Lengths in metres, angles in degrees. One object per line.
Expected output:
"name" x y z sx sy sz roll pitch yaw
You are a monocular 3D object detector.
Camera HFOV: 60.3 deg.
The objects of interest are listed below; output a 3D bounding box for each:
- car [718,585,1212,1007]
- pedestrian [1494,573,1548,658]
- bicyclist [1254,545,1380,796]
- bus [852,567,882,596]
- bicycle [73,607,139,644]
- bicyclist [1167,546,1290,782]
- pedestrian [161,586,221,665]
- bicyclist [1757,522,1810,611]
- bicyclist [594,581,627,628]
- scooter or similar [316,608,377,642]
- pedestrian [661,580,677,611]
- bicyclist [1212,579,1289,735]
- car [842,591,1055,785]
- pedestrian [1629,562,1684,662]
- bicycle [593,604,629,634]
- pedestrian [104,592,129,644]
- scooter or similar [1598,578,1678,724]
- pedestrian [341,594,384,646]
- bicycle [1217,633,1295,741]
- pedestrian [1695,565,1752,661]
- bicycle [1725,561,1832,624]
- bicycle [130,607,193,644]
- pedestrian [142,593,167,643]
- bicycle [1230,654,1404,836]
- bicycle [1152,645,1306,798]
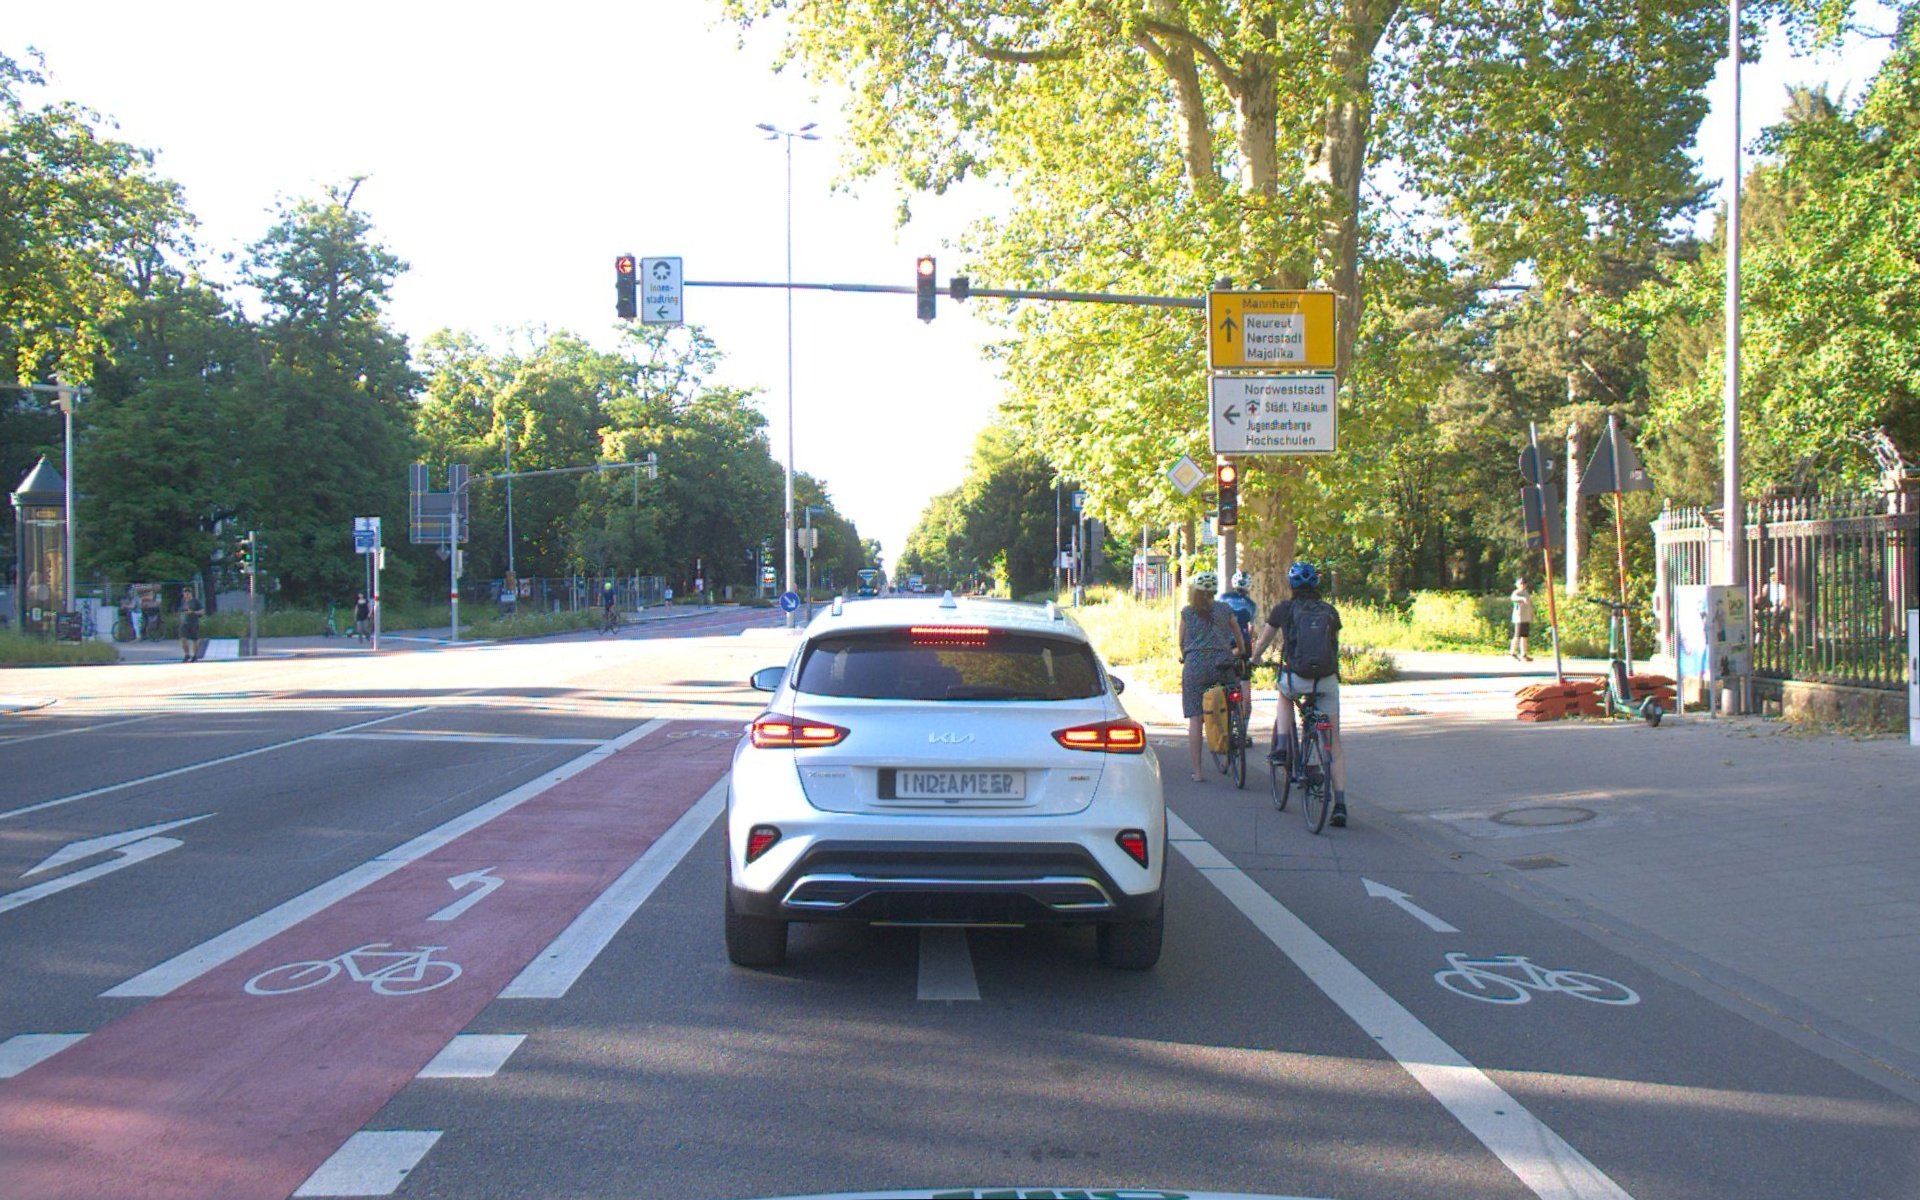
"car" -0.049 0.685 7.933 1.785 1.506 3.934 0 1 -2
"pedestrian" 10.275 0.278 30.315 0.800 1.544 0.917 0 0 10
"bicyclist" 2.391 0.460 11.150 0.652 1.630 0.720 1 0 -2
"bus" -12.340 -2.415 218.453 3.668 3.737 13.229 -1 1 -4
"bicycle" -27.780 0.825 53.817 1.826 1.168 0.442 0 0 -8
"bicyclist" 2.173 0.494 13.500 0.738 1.827 1.164 1 0 -2
"pedestrian" -20.288 0.657 43.655 0.974 2.049 1.191 0 0 4
"bicyclist" 13.700 -0.551 27.531 0.766 1.456 0.665 0 0 25
"bicyclist" -12.311 0.157 58.344 0.857 1.636 1.188 -1 0 1
"scooter or similar" -20.770 0.831 56.055 0.697 1.144 1.916 0 0 32
"pedestrian" -17.194 -0.266 97.807 0.769 1.817 0.751 0 0 0
"bicyclist" 2.907 0.559 16.591 0.543 1.504 0.716 -3 0 -2
"car" -0.163 0.699 15.082 1.694 1.509 3.515 -1 1 -3
"pedestrian" 12.265 0.207 29.136 0.675 1.729 0.644 0 0 -1
"bicycle" -12.301 0.663 58.357 0.650 1.006 2.504 -1 1 1
"pedestrian" -27.314 0.575 53.552 0.617 1.671 0.444 0 0 -11
"scooter or similar" 6.528 0.464 15.954 0.223 1.350 1.171 -1 0 -2
"pedestrian" -19.330 0.639 53.542 1.067 1.631 0.999 -1 0 -7
"bicycle" 2.940 0.845 16.549 0.393 0.973 1.550 -3 0 -2
"pedestrian" 13.829 0.236 29.967 0.808 1.711 0.694 0 0 13
"bicycle" 13.620 -0.133 27.564 1.584 1.032 0.475 0 0 25
"bicycle" -25.876 0.826 53.610 1.826 1.168 0.290 0 0 -8
"pedestrian" -26.071 0.592 53.538 0.617 1.608 0.444 0 0 -11
"bicycle" 2.380 0.934 11.273 0.655 1.027 2.080 1 1 -2
"bicycle" 2.157 0.939 13.628 0.742 1.031 2.568 1 1 -2
